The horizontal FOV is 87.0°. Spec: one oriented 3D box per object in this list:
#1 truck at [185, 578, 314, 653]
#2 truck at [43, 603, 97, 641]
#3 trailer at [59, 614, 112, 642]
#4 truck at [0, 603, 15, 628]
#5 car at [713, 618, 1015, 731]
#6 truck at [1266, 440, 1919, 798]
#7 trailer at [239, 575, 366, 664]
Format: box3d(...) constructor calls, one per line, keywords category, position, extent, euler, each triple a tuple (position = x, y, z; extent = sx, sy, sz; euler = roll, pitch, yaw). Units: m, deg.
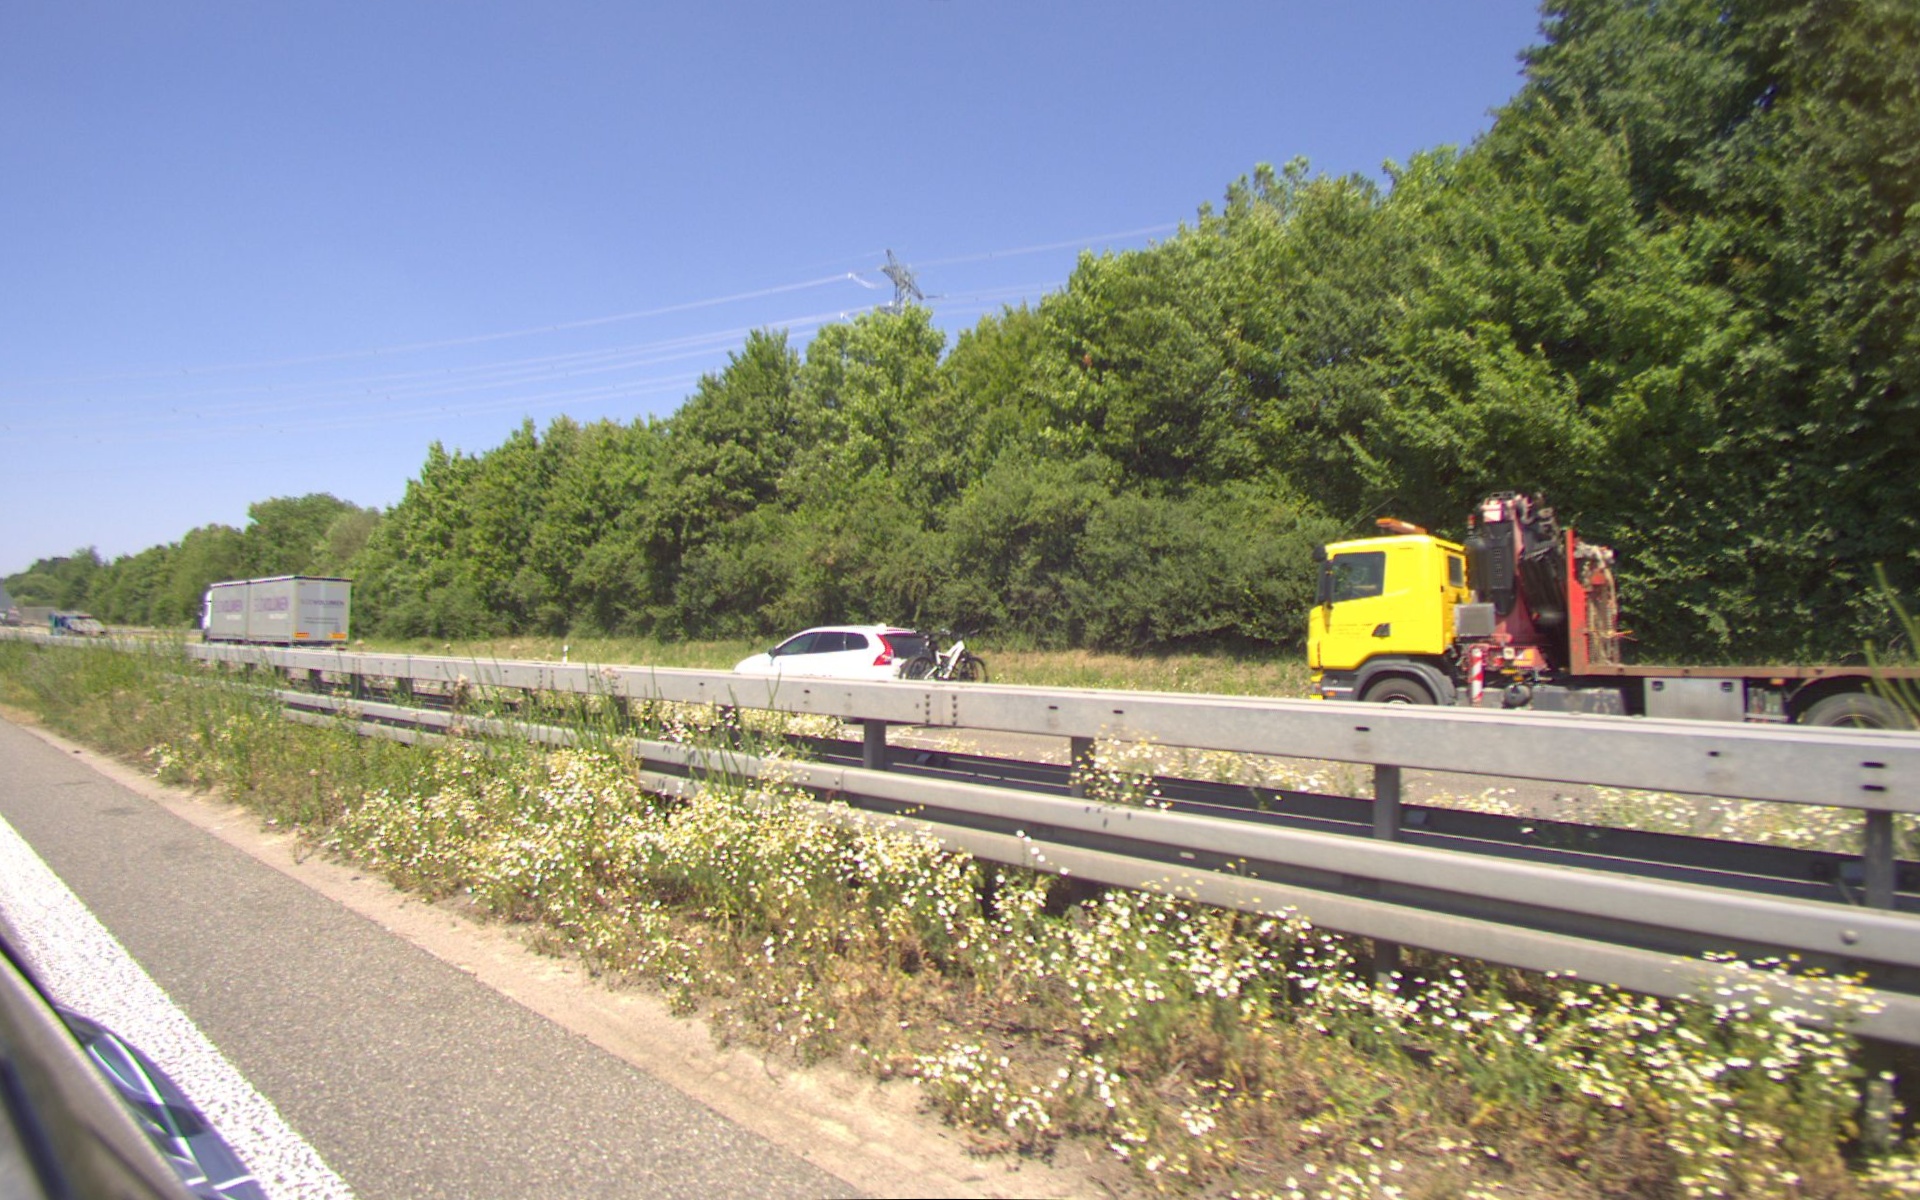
box3d(category="truck", position=(-41.472, 0.947, 58.889), extent=(11.115, 4.025, 3.418), euler=(-1, -2, 40))
box3d(category="truck", position=(-94.373, 2.331, 107.268), extent=(10.786, 3.831, 2.964), euler=(-1, -2, 42))
box3d(category="trailer", position=(-87.113, 2.716, 100.749), extent=(8.531, 2.659, 3.112), euler=(-1, 0, 43))
box3d(category="truck", position=(-188.077, 3.175, 196.904), extent=(14.506, 4.374, 2.971), euler=(-3, -3, 34))
box3d(category="car", position=(-1.856, 1.208, 17.894), extent=(5.609, 1.683, 1.973), euler=(-1, -3, 41))
box3d(category="truck", position=(9.757, 0.200, 12.761), extent=(11.152, 3.767, 2.754), euler=(-1, 0, 41))
box3d(category="trailer", position=(-34.321, 0.958, 52.719), extent=(7.964, 4.312, 3.418), euler=(-1, 0, 40))
